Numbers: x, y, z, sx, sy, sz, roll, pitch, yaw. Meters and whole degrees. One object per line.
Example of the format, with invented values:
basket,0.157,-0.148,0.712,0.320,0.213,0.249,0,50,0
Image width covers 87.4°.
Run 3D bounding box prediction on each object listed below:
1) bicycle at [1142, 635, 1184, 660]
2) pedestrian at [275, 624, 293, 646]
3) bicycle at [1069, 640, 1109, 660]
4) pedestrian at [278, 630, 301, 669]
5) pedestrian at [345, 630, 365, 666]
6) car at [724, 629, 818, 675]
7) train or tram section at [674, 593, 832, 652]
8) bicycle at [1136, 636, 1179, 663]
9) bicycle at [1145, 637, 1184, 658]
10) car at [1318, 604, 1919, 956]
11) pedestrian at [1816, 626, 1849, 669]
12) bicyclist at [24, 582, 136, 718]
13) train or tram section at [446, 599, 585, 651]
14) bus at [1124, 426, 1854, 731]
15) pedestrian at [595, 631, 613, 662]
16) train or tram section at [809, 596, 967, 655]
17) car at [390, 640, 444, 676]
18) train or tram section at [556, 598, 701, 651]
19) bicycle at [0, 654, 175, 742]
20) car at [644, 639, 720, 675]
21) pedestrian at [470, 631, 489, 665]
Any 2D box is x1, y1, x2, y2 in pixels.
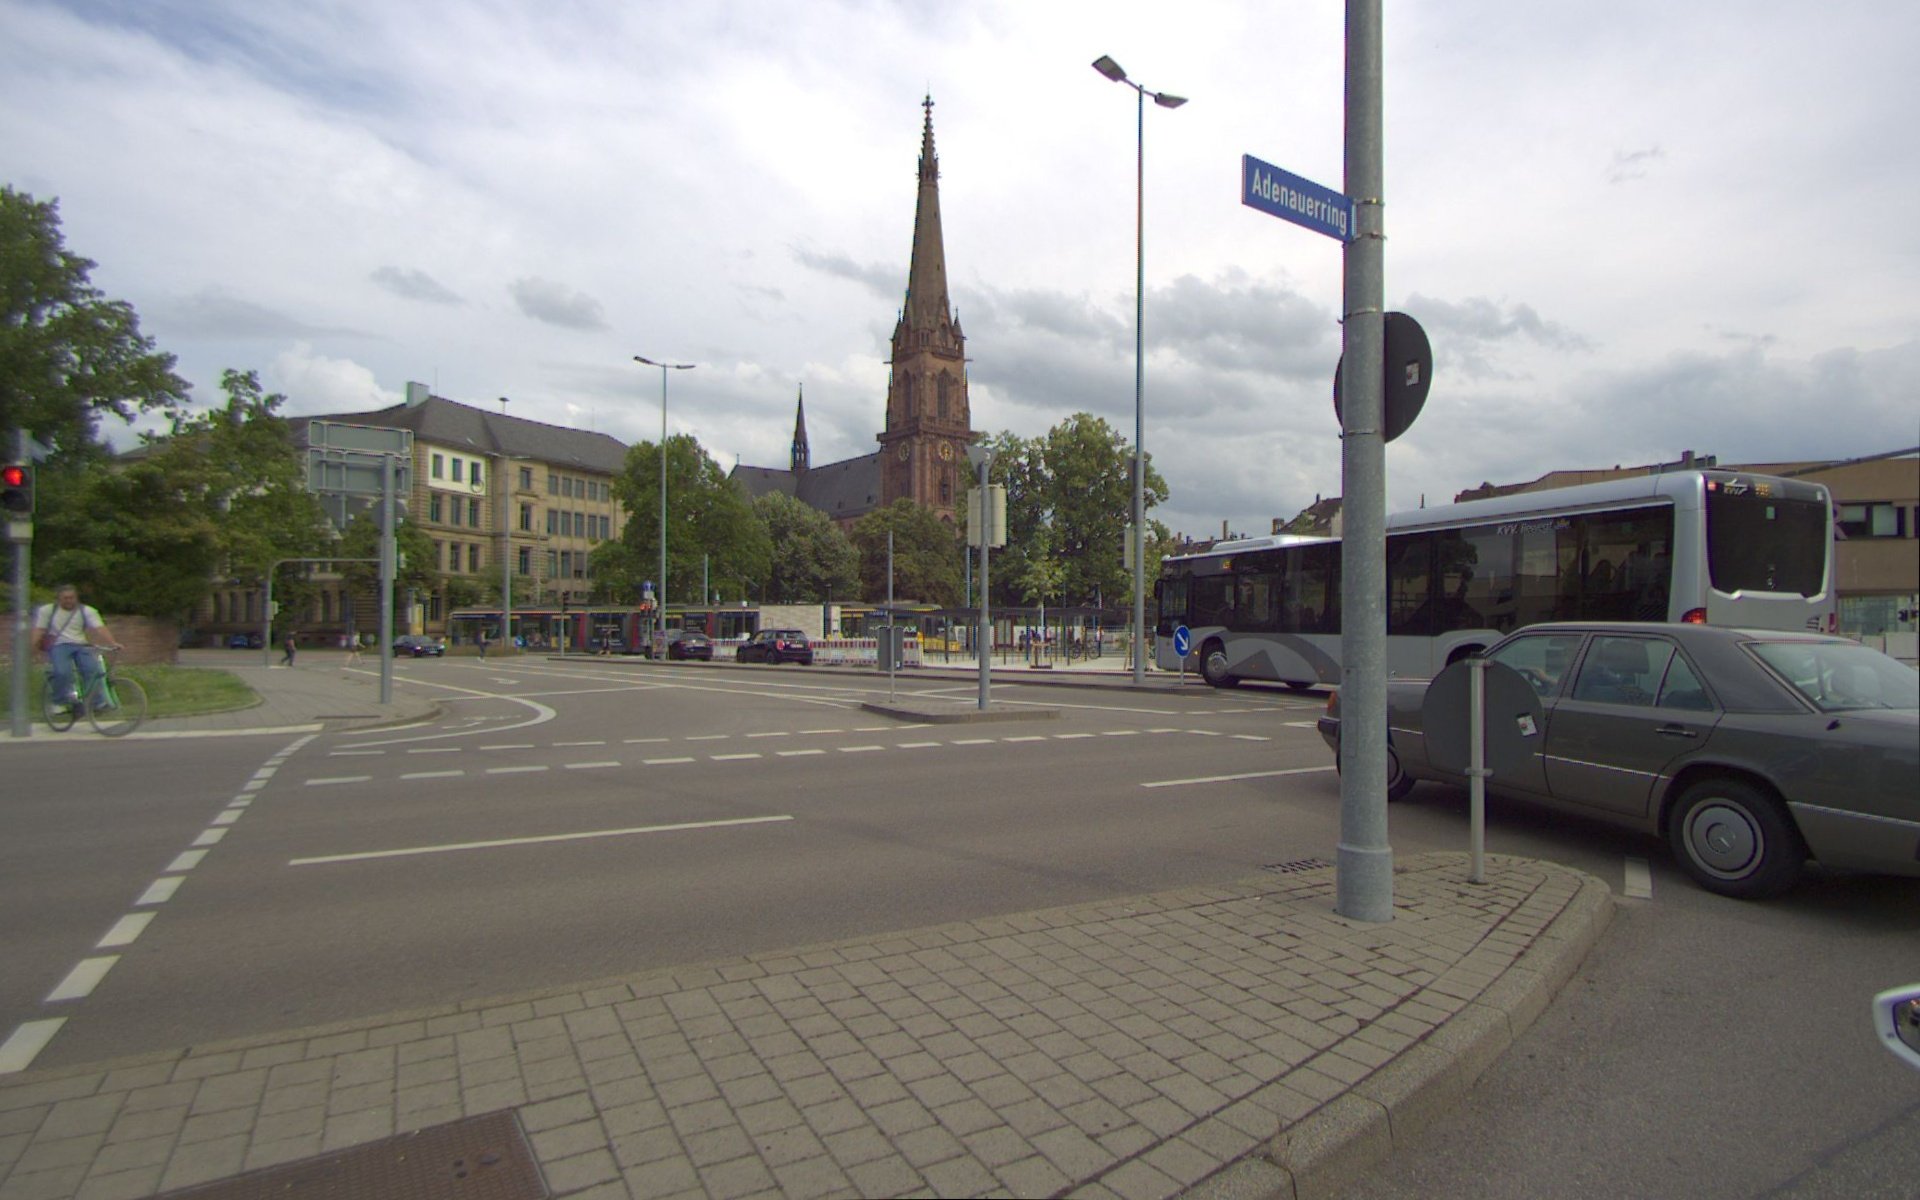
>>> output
bicycle,9.987,2.329,49.457,1.926,1.171,0.584,1,0,9
pedestrian,-61.638,3.173,91.591,0.990,2.040,0.889,0,-2,26
bicycle,6.642,2.567,51.649,1.927,0.968,0.584,1,0,15
pedestrian,-30.506,2.235,45.701,0.791,1.734,0.832,1,0,-33
pedestrian,-29.594,2.340,49.128,0.791,1.734,0.832,1,0,-33
car,-7.284,1.951,38.523,1.982,1.506,3.957,2,0,-37
train or tram section,-13.513,1.397,65.492,9.732,3.496,3.063,1,0,17
bicycle,9.174,2.296,46.789,1.926,1.171,0.584,1,0,9
bicycle,10.595,2.451,51.952,1.927,0.983,0.584,1,0,15
car,4.424,0.810,6.572,1.673,1.500,4.401,1,0,-16
pedestrian,36.438,1.978,41.947,0.797,1.755,0.780,-1,-3,24
bicyclist,-10.637,0.597,12.159,0.782,1.576,0.580,2,-2,9
train or tram section,-31.477,1.715,71.113,9.182,3.321,3.063,1,0,17
bus,7.488,0.092,18.618,2.670,3.483,14.132,1,-3,-18
pedestrian,-20.069,2.627,56.646,0.791,1.734,0.832,1,0,-33
train or tram section,-4.488,1.556,62.686,9.312,3.290,3.063,1,0,17
car,-34.441,3.655,63.647,1.987,2.040,3.947,2,0,-44
train or tram section,-22.519,1.615,68.275,9.242,3.255,3.063,1,0,17
bicycle,-10.569,1.159,12.118,1.931,0.948,0.506,2,-2,9
car,-12.720,2.578,45.841,1.981,1.379,4.230,2,0,-36
pedestrian,-25.034,2.476,52.331,0.791,1.734,0.832,1,0,-33
